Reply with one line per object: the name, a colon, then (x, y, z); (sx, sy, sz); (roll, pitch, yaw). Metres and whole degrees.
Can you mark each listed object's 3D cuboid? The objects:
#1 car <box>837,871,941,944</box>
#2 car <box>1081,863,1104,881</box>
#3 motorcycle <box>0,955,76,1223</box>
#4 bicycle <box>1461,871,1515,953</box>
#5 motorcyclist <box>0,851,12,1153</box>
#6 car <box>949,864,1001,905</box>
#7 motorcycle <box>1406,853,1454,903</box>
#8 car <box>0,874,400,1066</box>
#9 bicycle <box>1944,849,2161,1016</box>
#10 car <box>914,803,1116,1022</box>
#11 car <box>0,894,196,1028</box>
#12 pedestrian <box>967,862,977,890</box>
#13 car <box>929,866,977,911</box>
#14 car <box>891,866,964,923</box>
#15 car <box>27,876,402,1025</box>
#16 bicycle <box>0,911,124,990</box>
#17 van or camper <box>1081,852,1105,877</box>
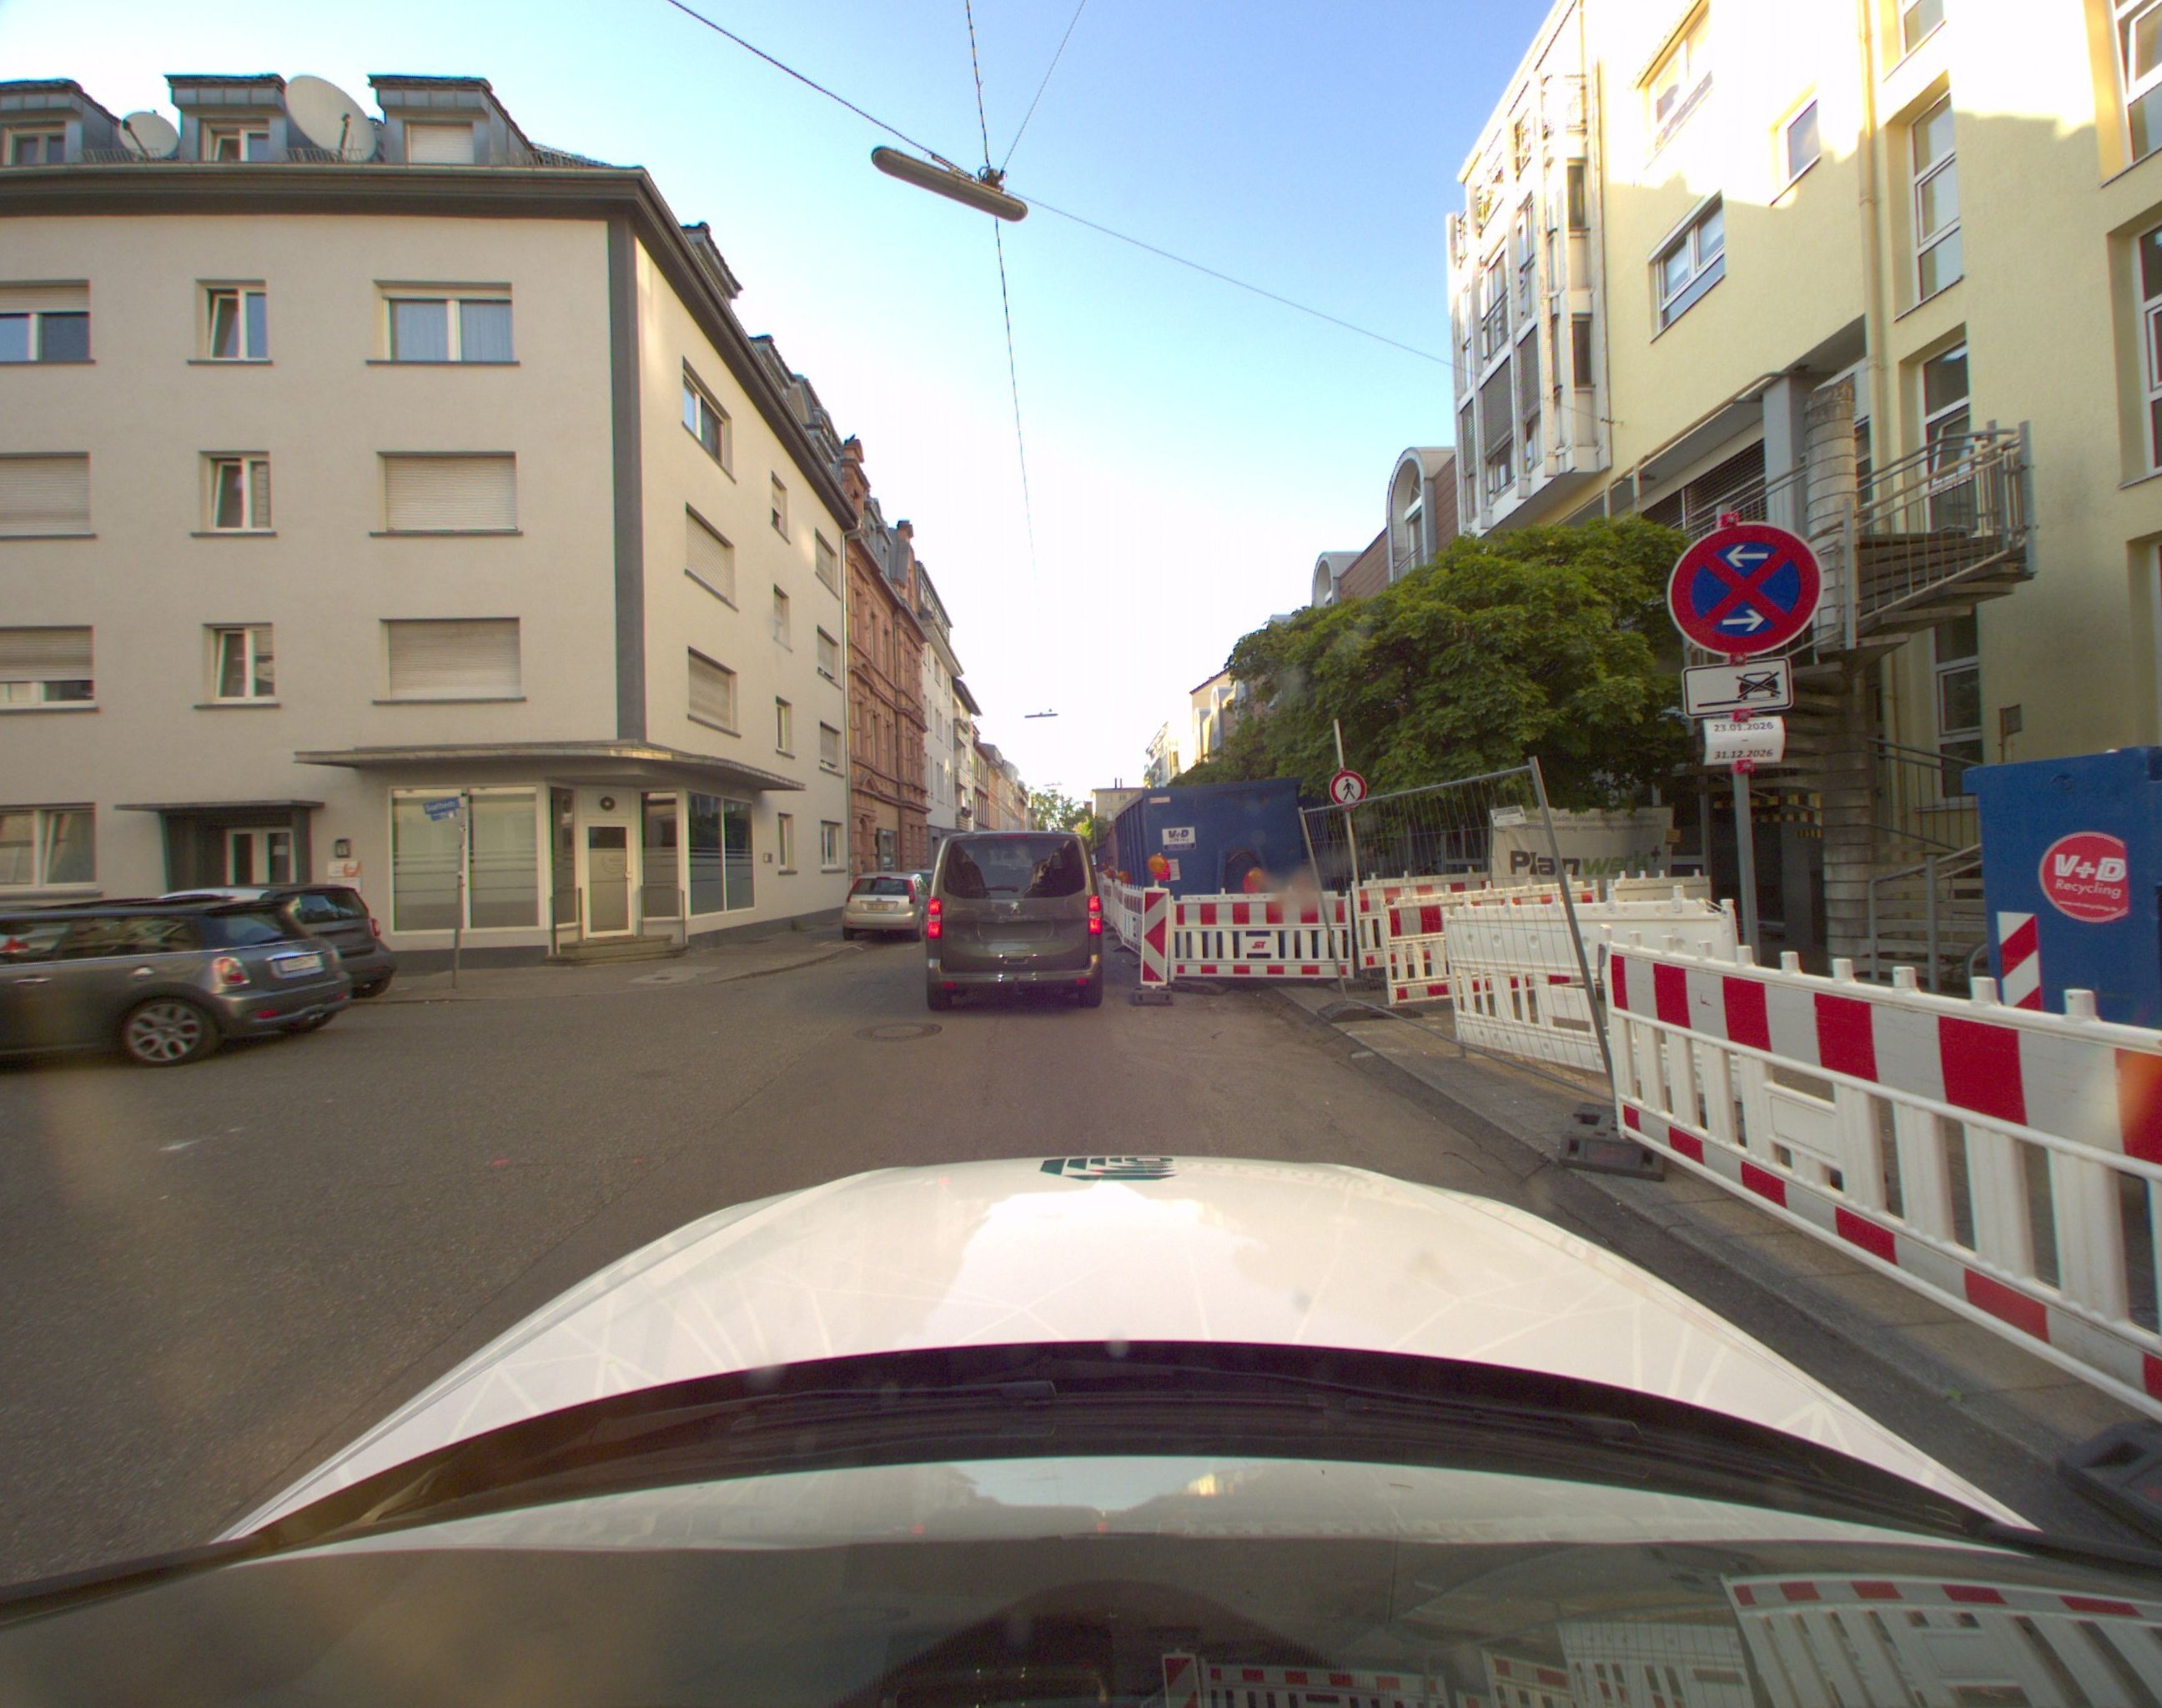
car: (-4.264, 1.131, 18.563); (1.628, 1.430, 3.552); (-1, -1, -2)
car: (1.057, 1.637, 74.541); (1.719, 1.612, 4.582); (-2, -1, -3)
motorcycle: (-6.063, 1.155, 3.875); (1.684, 1.249, 0.808); (0, 1, 6)
bicycle: (5.674, 0.775, 11.405); (0.562, 1.069, 1.373); (-1, -1, 22)
motorcyclist: (-6.151, 0.777, 3.875); (0.991, 1.567, 0.876); (0, 1, 7)
car: (-4.467, 1.241, 34.789); (1.735, 1.599, 4.012); (-1, -1, -2)
motorcycle: (9.195, 0.610, 21.557); (0.863, 1.222, 2.468); (-3, -2, 17)
car: (-9.202, 0.991, 7.493); (3.995, 1.486, 1.989); (-1, -1, -16)
bicycle: (7.981, 0.597, 6.614); (1.646, 1.268, 0.547); (0, -1, -12)
car: (-0.692, 0.583, 9.938); (1.853, 2.013, 3.997); (-4, 0, -2)
car: (-14.374, 1.321, 10.235); (4.238, 1.453, 1.967); (-1, -1, -2)
pedestrian: (-6.453, 1.278, 48.045); (0.493, 1.638, 0.665); (0, -1, -1)
car: (-4.794, 1.255, 30.764); (1.392, 1.588, 2.792); (-1, -1, -2)
car: (-4.451, 1.135, 24.080); (1.551, 1.508, 3.595); (1, -1, -2)
car: (-10.339, 1.095, 9.903); (2.746, 1.566, 1.648); (-1, -1, -1)
bicycle: (-16.041, 1.472, 12.477); (2.046, 1.137, 0.488); (0, -1, -4)
van or camper: (1.270, 1.186, 90.509); (2.094, 2.602, 7.504); (-3, -1, -2)
